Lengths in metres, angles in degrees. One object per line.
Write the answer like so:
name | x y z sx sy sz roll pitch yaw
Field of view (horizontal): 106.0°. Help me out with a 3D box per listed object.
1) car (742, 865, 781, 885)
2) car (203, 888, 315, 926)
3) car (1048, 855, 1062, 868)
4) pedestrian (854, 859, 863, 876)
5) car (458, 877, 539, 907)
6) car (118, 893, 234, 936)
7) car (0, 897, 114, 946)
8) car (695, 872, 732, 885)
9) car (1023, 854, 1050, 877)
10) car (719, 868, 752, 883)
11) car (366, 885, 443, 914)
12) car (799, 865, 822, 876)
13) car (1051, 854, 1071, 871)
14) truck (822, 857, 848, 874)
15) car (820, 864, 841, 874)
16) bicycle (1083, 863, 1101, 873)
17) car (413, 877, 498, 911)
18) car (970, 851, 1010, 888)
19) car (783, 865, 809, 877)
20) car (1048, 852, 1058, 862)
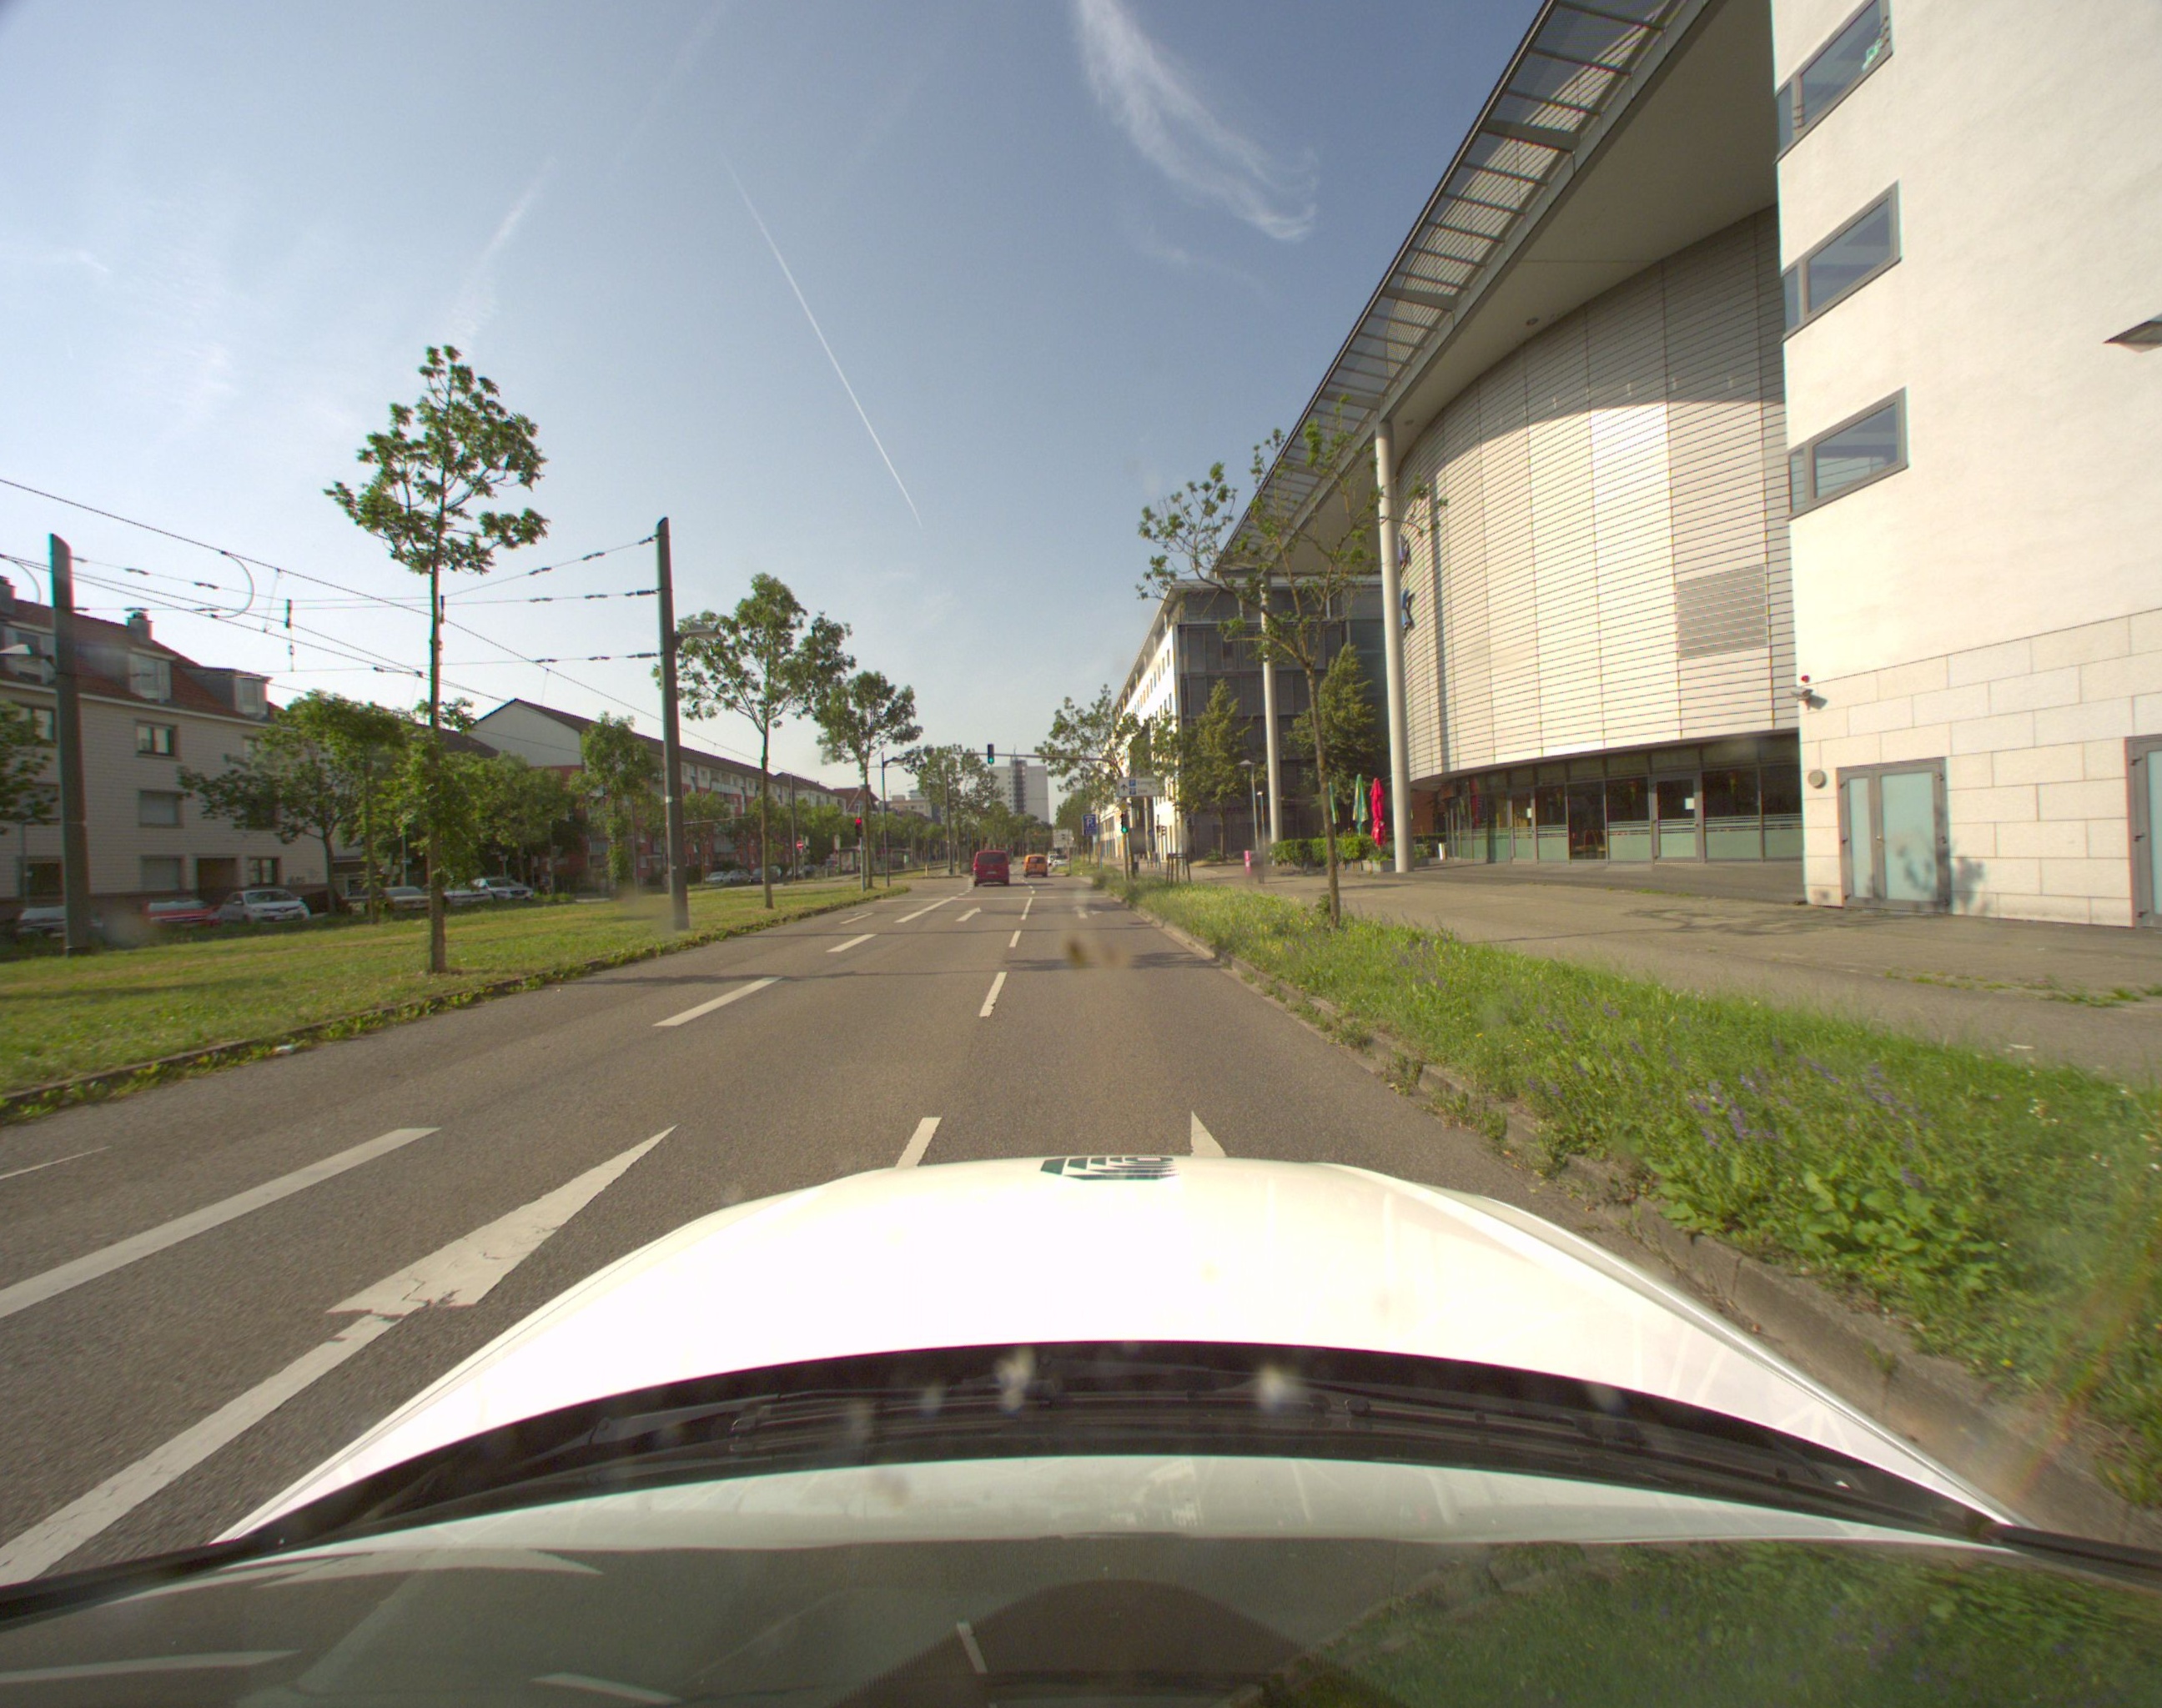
car | -30.832 2.010 78.783 1.988 1.706 4.709 -2 0 -2
car | -31.312 1.992 31.020 3.950 1.269 1.898 -1 0 27
car | -3.354 0.965 104.134 1.685 1.526 3.847 -4 0 -2
pedestrian | -22.556 1.338 82.605 0.671 1.653 0.793 -3 0 -7
car | -31.660 2.036 44.249 4.297 1.463 1.976 -1 0 30
car | -30.994 2.028 27.878 3.949 1.258 1.887 -1 0 30
car | -30.943 1.987 24.530 3.949 1.235 1.710 -1 0 30
car | -35.013 2.294 77.676 1.829 1.148 4.160 -1 0 -3
car | -3.375 0.847 61.993 1.871 1.696 3.970 -2 0 -2
car | -35.405 2.175 83.513 1.829 1.471 3.822 -1 0 -3
car | -31.751 2.115 38.192 3.948 1.178 2.013 -1 0 38
car | -36.143 2.153 108.855 1.976 1.360 4.064 -1 0 -3
car | -1.947 0.827 78.040 1.717 1.519 3.776 -2 0 -3
truck | -40.243 1.888 133.560 2.361 2.563 7.232 -2 0 -3
car | -36.371 2.194 118.371 1.976 1.360 4.064 -1 0 -3
bicycle | 0.881 1.083 63.954 1.265 0.632 0.522 -9 -1 4
car | -31.242 1.997 40.634 4.407 1.514 2.013 -2 0 34
car | -4.869 0.808 44.126 1.871 1.853 3.995 -2 0 -4
car | -36.098 2.130 103.183 1.976 1.360 4.064 -1 0 -3
car | -5.697 0.654 167.822 1.989 2.013 3.996 -2 0 -3
